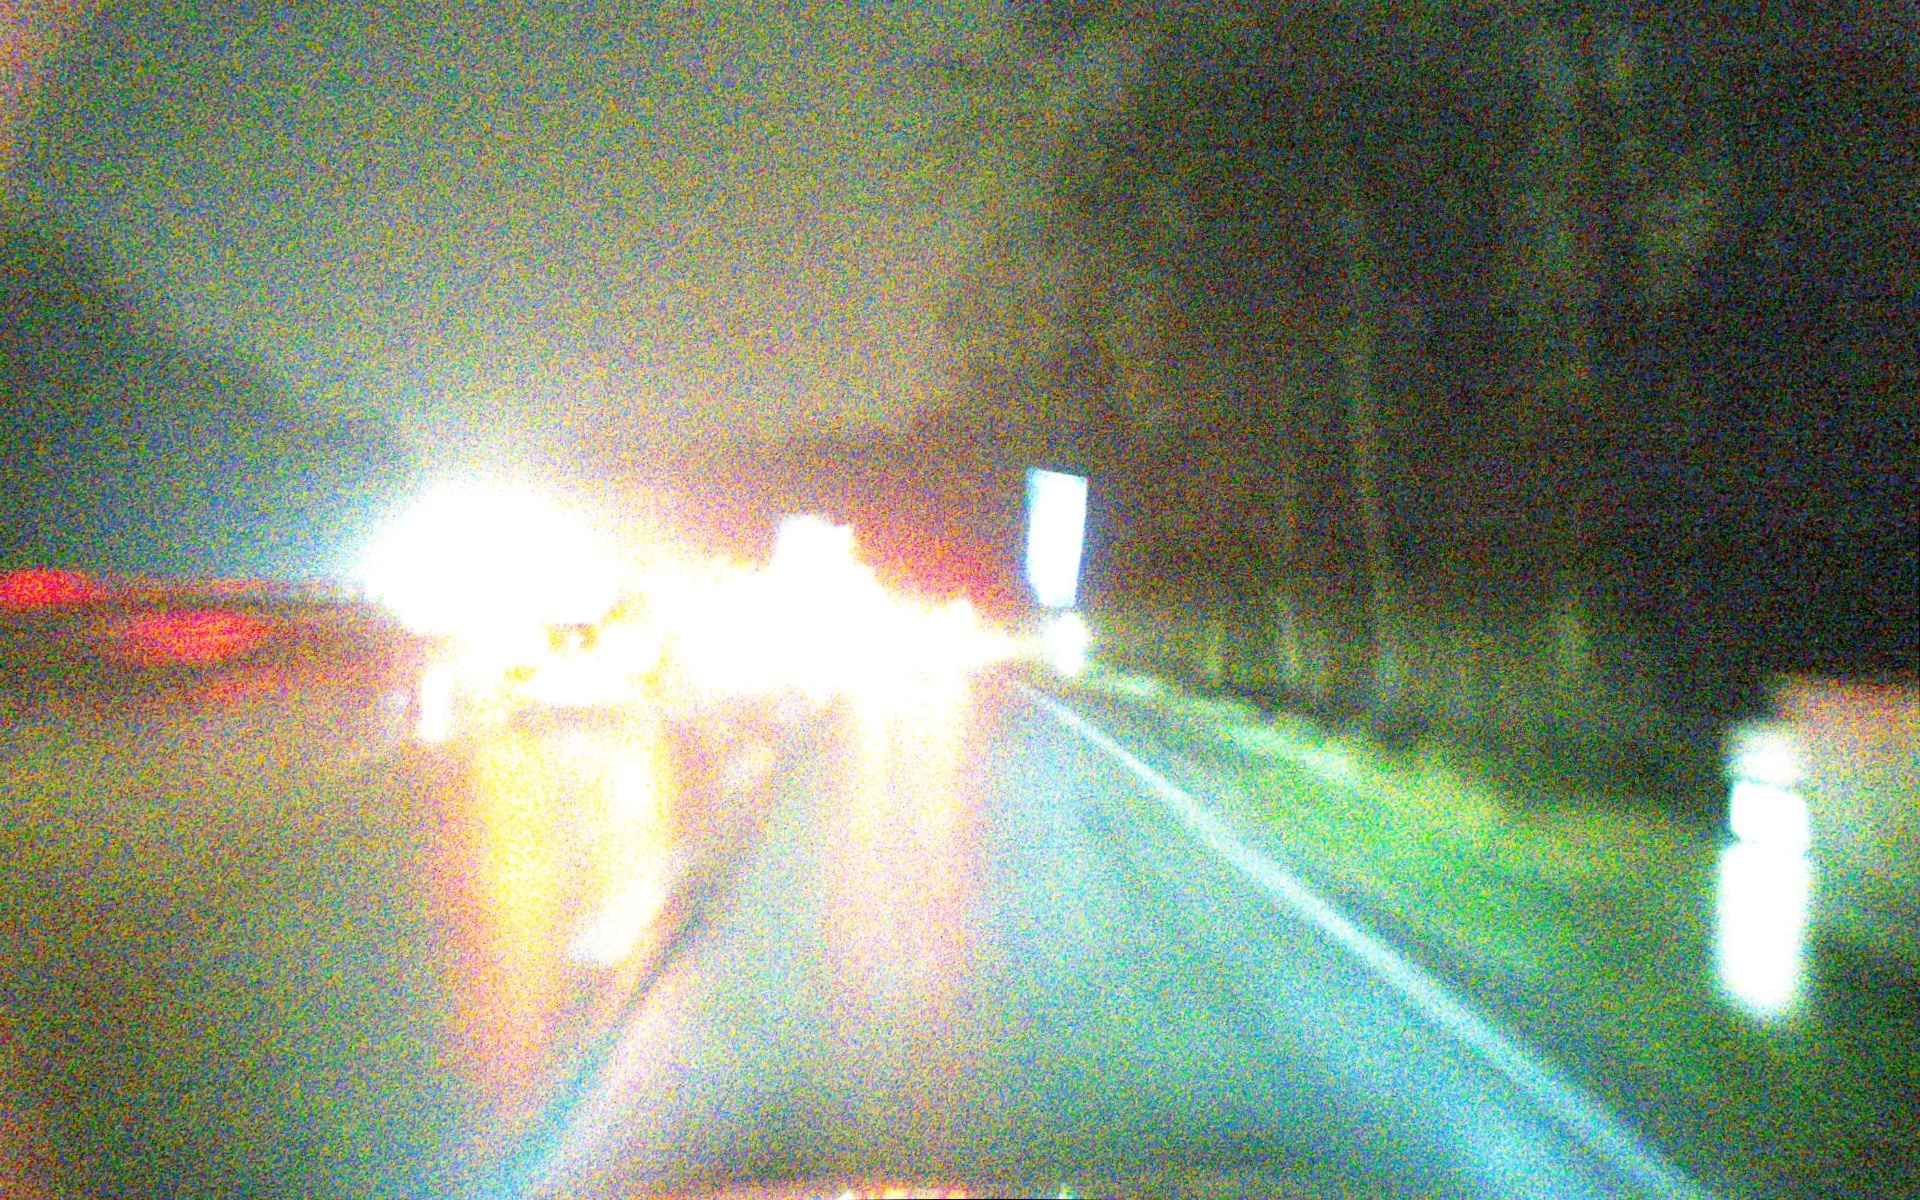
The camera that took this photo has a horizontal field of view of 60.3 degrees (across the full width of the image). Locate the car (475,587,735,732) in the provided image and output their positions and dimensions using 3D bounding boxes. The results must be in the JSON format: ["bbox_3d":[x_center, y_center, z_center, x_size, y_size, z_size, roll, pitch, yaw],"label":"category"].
[{"bbox_3d":[-3.909,0.622,18.949,1.921,1.404,4.050,2,0,2],"label":"car"}]

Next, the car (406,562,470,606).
[{"bbox_3d":[-25.662,-0.767,81.495,1.954,2.049,4.805,2,0,-5],"label":"car"}]

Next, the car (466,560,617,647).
[{"bbox_3d":[-8.087,0.044,32.390,1.732,1.543,4.914,2,0,-1],"label":"car"}]

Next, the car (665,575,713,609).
[{"bbox_3d":[-13.626,-0.391,83.319,1.854,1.577,3.998,2,0,-2],"label":"car"}]
